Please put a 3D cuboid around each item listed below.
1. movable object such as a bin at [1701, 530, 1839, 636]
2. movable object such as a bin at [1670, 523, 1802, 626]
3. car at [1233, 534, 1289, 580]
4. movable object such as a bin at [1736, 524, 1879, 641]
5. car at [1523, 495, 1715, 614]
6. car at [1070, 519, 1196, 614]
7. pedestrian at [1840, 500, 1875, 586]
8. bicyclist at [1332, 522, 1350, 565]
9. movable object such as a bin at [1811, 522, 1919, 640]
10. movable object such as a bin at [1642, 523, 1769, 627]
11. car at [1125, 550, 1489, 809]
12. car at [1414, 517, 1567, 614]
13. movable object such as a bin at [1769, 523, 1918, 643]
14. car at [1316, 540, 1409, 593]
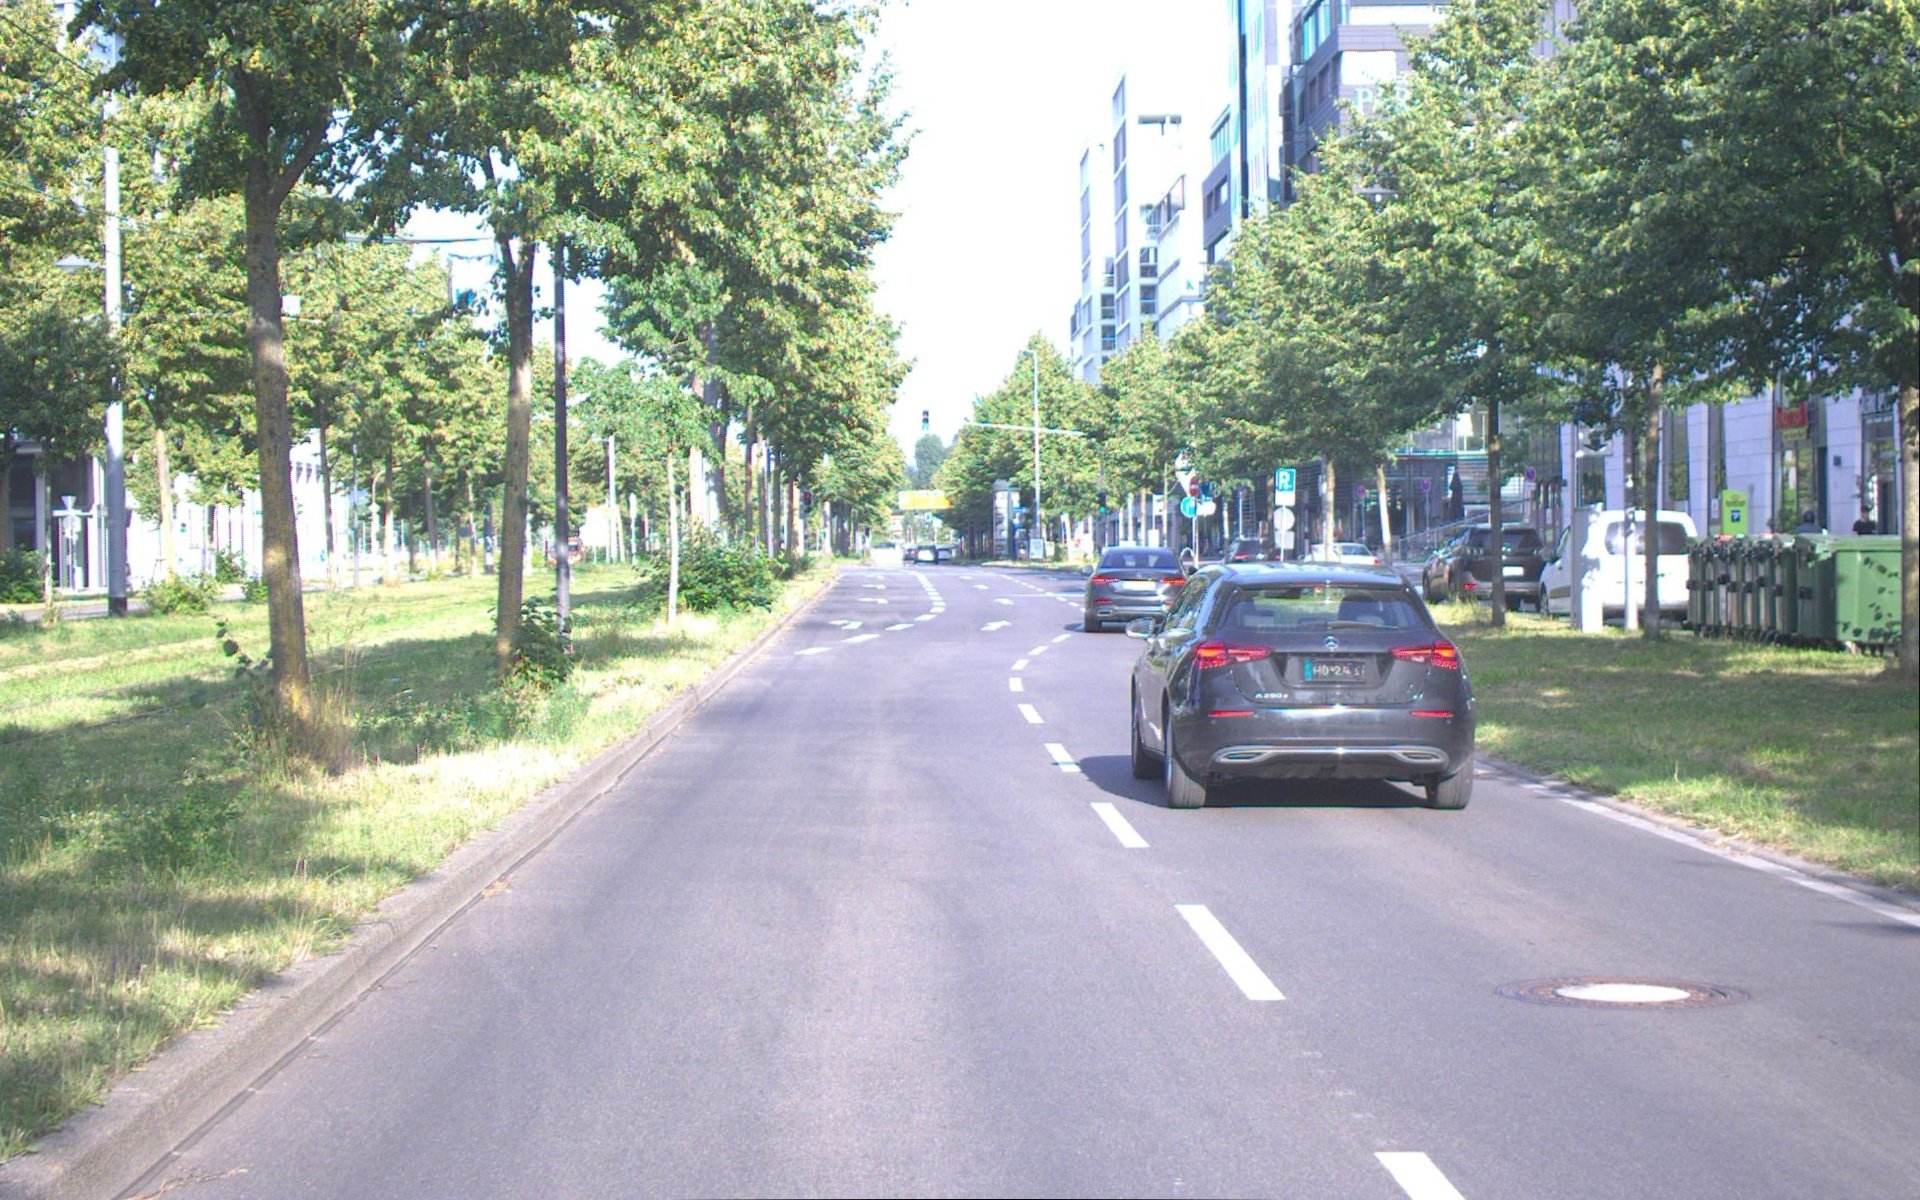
[{"bbox_3d":[9.693,-0.209,41.187,1.277,1.232,1.191,1,1,-4],"label":"movable object such as a bin"},{"bbox_3d":[9.609,-0.321,42.610,1.277,1.232,1.191,1,1,-4],"label":"movable object such as a bin"},{"bbox_3d":[9.301,-1.338,106.504,1.607,1.366,4.157,1,1,4],"label":"car"},{"bbox_3d":[9.804,-0.209,39.810,1.277,1.313,1.191,1,1,-4],"label":"movable object such as a bin"},{"bbox_3d":[9.994,-0.693,52.469,1.827,1.706,4.297,1,1,-4],"label":"car"},{"bbox_3d":[2.887,-0.566,58.022,1.859,1.519,3.786,1,1,-1],"label":"car"},{"bbox_3d":[18.630,-1.182,71.370,0.537,1.757,0.646,1,0,-1],"label":"pedestrian"},{"bbox_3d":[14.842,-2.201,133.996,0.574,1.701,0.541,1,0,-5],"label":"bicyclist"},{"bbox_3d":[10.013,-0.202,36.962,1.400,1.232,1.334,1,1,26],"label":"movable object such as a bin"},{"bbox_3d":[9.494,-0.318,43.840,1.277,1.287,1.178,1,1,-4],"label":"movable object such as a bin"},{"bbox_3d":[2.033,0.421,21.197,1.774,1.419,3.961,1,1,-1],"label":"car"},{"bbox_3d":[9.916,-0.683,64.610,1.897,1.702,4.679,1,2,-3],"label":"car"},{"bbox_3d":[9.876,-0.193,38.465,1.277,1.297,1.191,1,1,-4],"label":"movable object such as a bin"},{"bbox_3d":[9.978,-0.833,85.414,1.708,1.238,3.906,1,1,-2],"label":"car"}]
